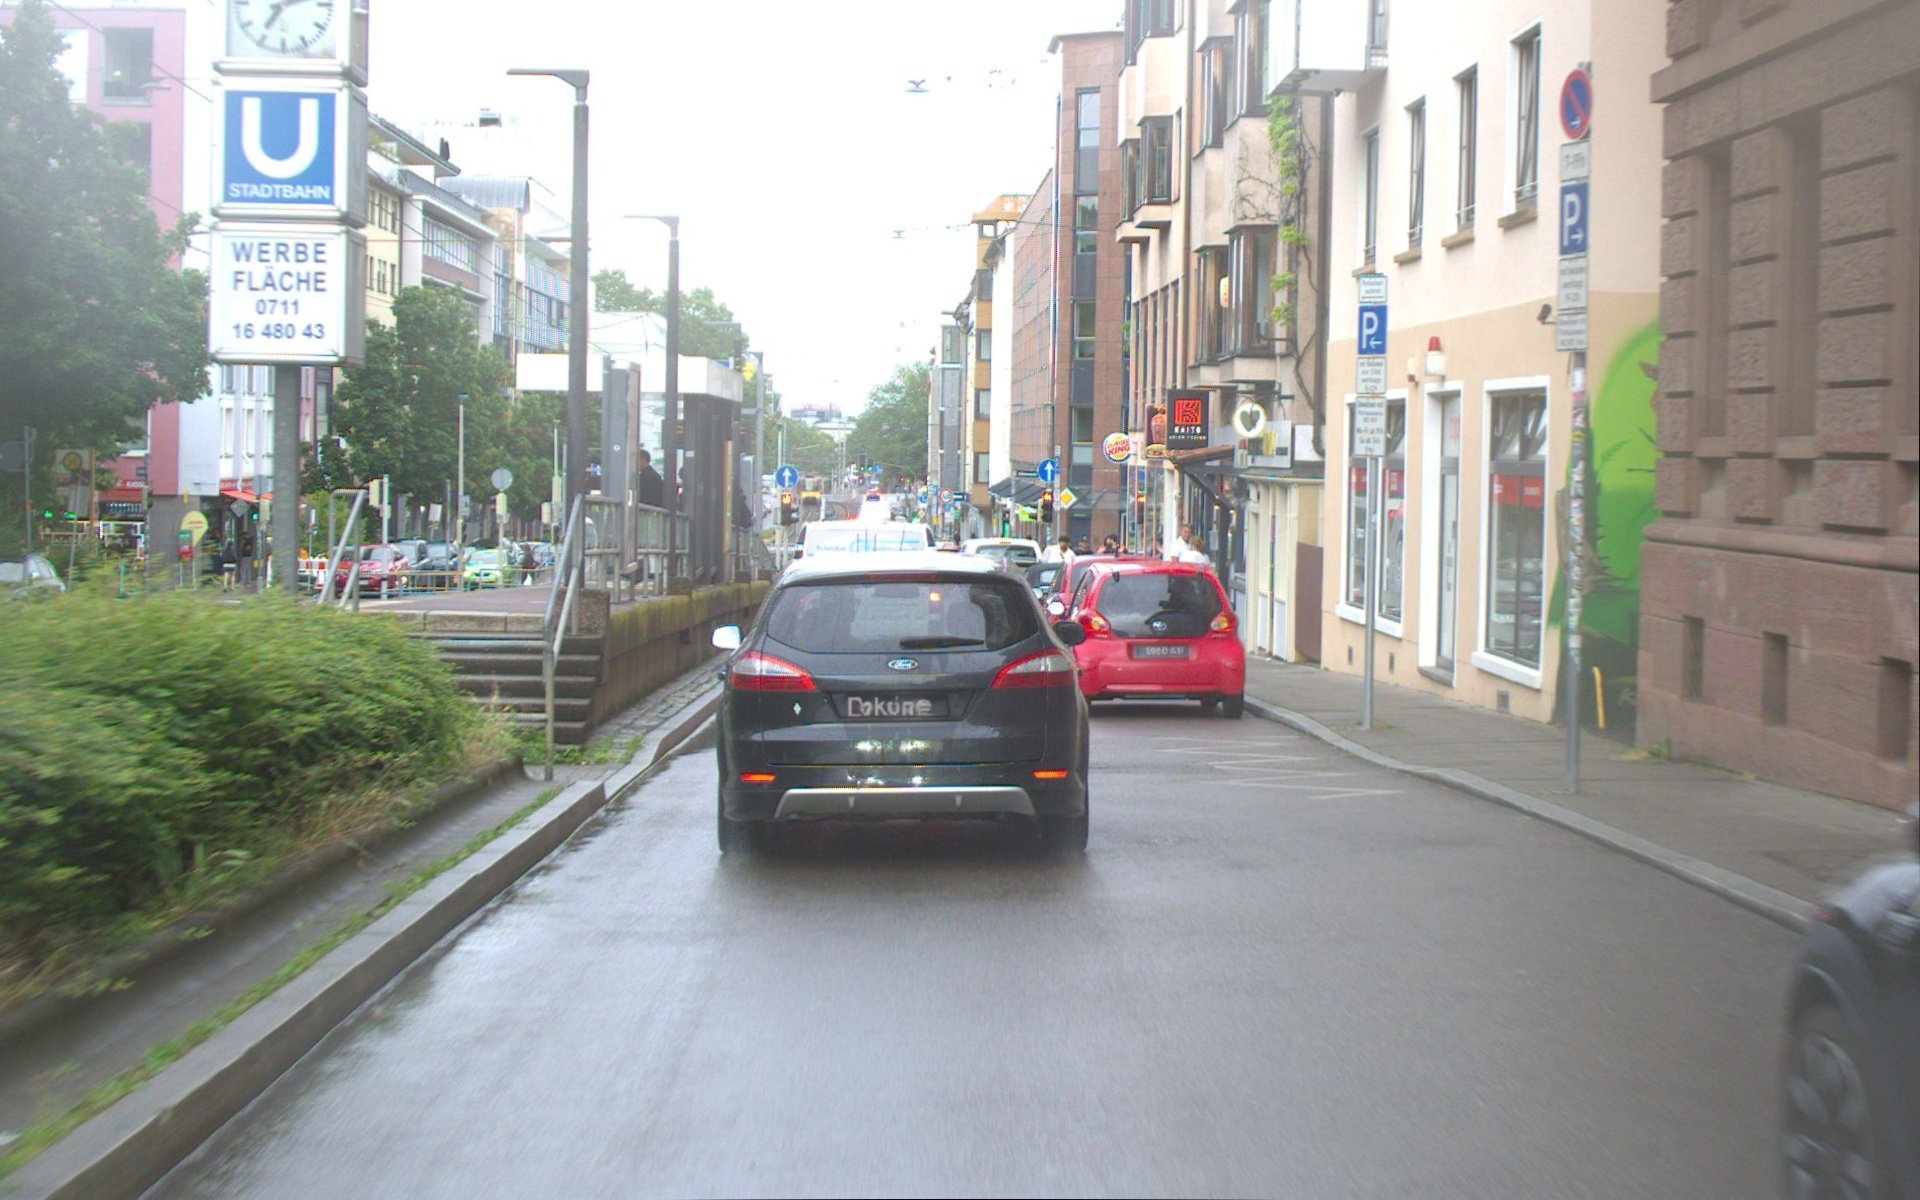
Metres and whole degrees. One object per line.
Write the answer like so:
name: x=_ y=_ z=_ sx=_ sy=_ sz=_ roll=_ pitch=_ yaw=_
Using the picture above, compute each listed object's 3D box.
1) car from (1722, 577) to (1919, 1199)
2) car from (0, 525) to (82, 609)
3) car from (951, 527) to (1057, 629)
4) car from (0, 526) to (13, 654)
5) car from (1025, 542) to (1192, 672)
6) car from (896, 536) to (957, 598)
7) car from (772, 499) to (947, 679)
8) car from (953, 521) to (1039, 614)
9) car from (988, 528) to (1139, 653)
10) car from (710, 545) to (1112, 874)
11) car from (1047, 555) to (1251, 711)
car: x=2.468 y=0.711 z=5.320 sx=1.577 sy=1.454 sz=3.822 roll=0 pitch=1 yaw=-2
car: x=-16.492 y=-0.558 z=59.553 sx=1.550 sy=1.390 sz=4.046 roll=2 pitch=0 yaw=-1
car: x=0.817 y=-0.393 z=65.713 sx=1.839 sy=1.775 sz=3.779 roll=3 pitch=-1 yaw=-1
car: x=-13.077 y=-0.157 z=42.125 sx=1.855 sy=1.631 sz=4.046 roll=2 pitch=0 yaw=-1
car: x=1.661 y=0.050 z=39.423 sx=1.670 sy=1.416 sz=3.476 roll=0 pitch=1 yaw=-2
car: x=-1.190 y=-1.132 z=121.082 sx=1.993 sy=2.007 sz=4.000 roll=3 pitch=-1 yaw=-1
car: x=-1.233 y=-0.192 z=42.031 sx=1.988 sy=2.053 sz=4.646 roll=1 pitch=2 yaw=-2
car: x=0.728 y=-0.646 z=71.390 sx=1.591 sy=1.775 sz=3.779 roll=3 pitch=-1 yaw=-1
car: x=1.406 y=-0.110 z=47.989 sx=1.858 sy=1.579 sz=3.779 roll=3 pitch=-1 yaw=-1
car: x=-0.337 y=0.480 z=17.759 sx=1.842 sy=1.502 sz=4.001 roll=0 pitch=1 yaw=-3
car: x=1.768 y=0.278 z=33.077 sx=1.670 sy=1.416 sz=3.476 roll=0 pitch=1 yaw=-2
